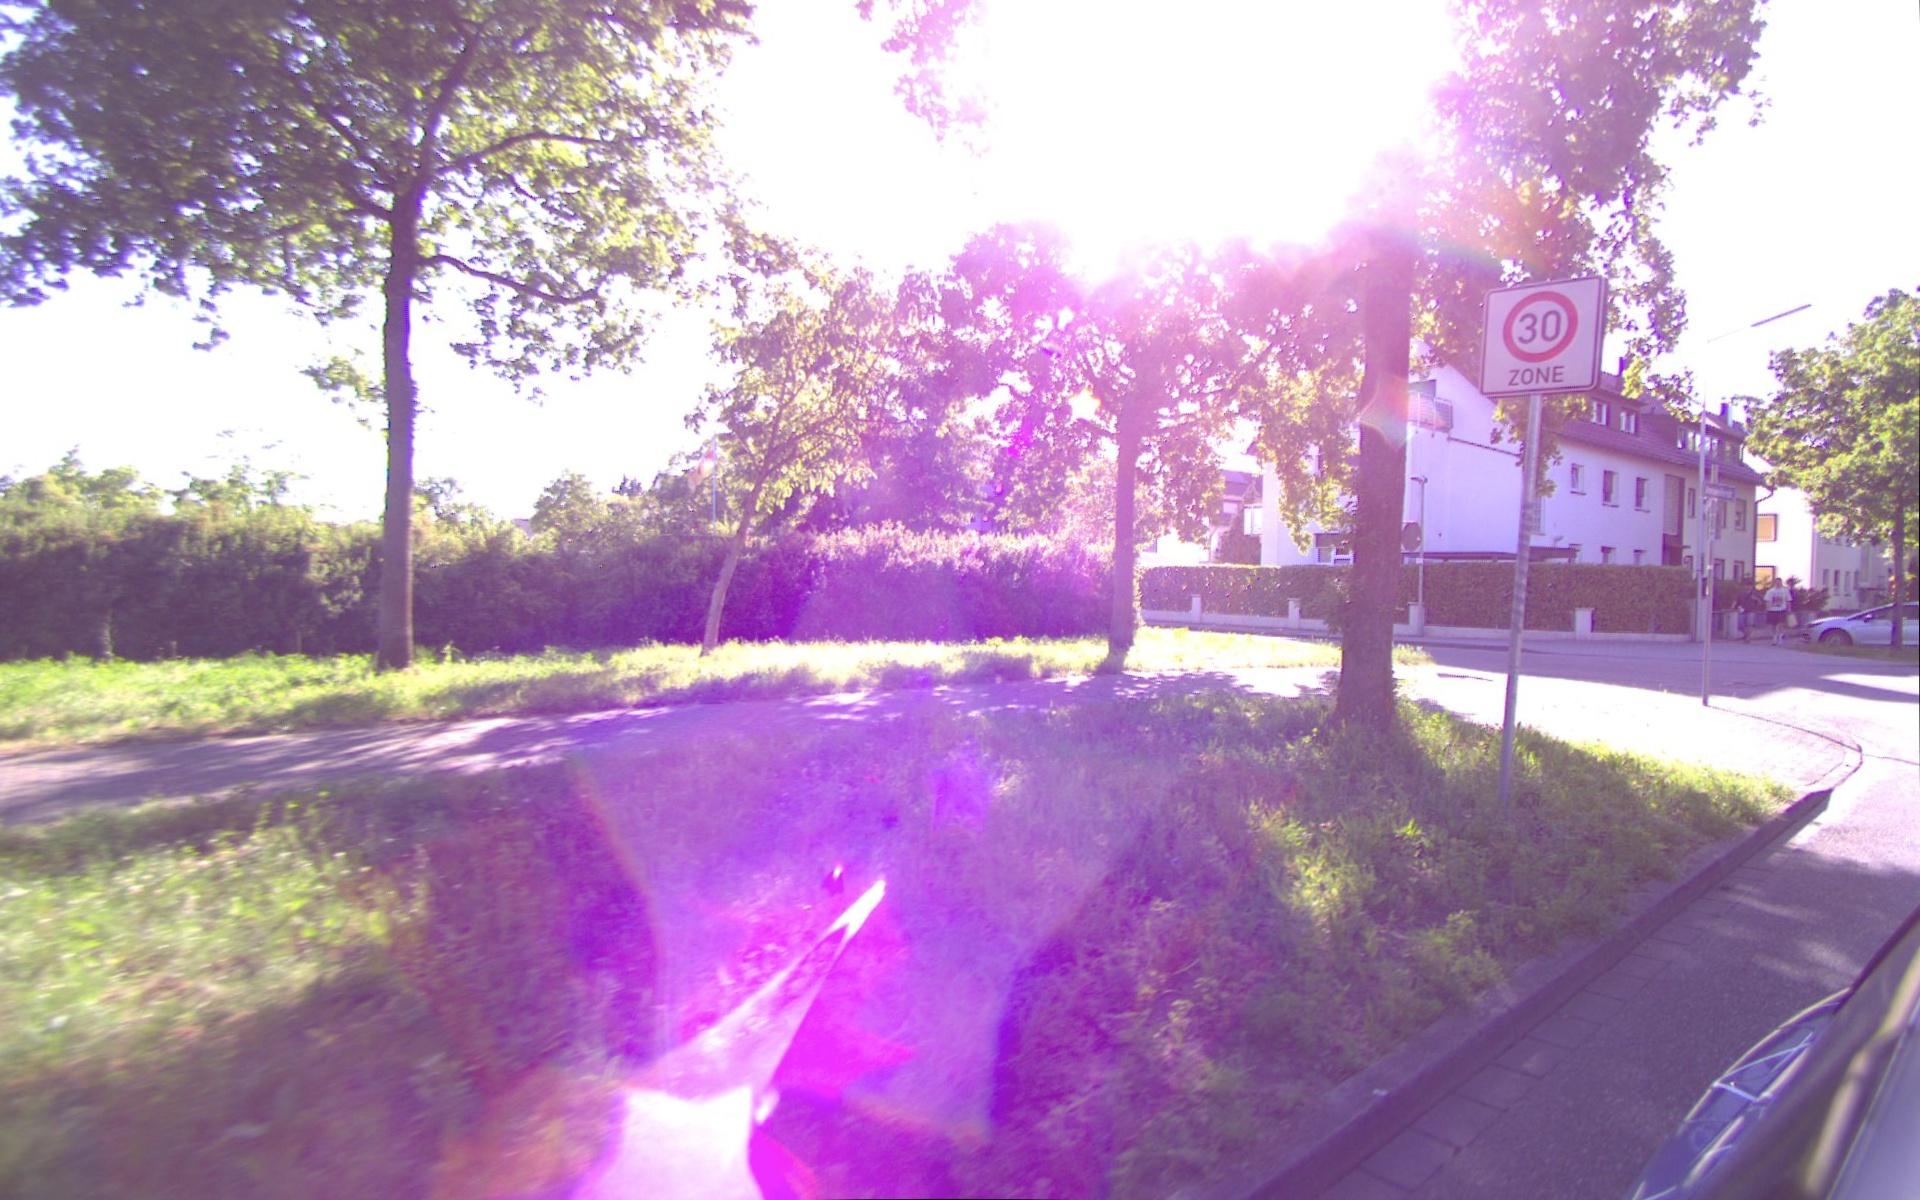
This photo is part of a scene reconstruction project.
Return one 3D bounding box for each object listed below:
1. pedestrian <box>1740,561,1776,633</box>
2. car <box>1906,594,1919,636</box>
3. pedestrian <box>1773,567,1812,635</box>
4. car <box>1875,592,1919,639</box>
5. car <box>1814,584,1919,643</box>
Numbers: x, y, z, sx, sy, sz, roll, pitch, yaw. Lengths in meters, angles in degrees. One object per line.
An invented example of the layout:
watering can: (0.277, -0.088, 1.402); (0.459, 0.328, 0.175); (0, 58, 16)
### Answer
pedestrian: (23.135, -0.098, 29.329); (0.819, 2.038, 0.610); (1, 1, -40)
car: (36.954, 0.630, 36.053); (1.907, 1.497, 4.511); (0, 2, -40)
pedestrian: (23.540, 0.025, 28.622); (0.854, 1.889, 0.665); (0, 1, -40)
car: (32.996, 0.574, 32.954); (1.907, 1.497, 4.511); (0, 2, -40)
car: (26.396, 0.391, 27.581); (1.907, 1.497, 4.511); (0, 2, -40)
